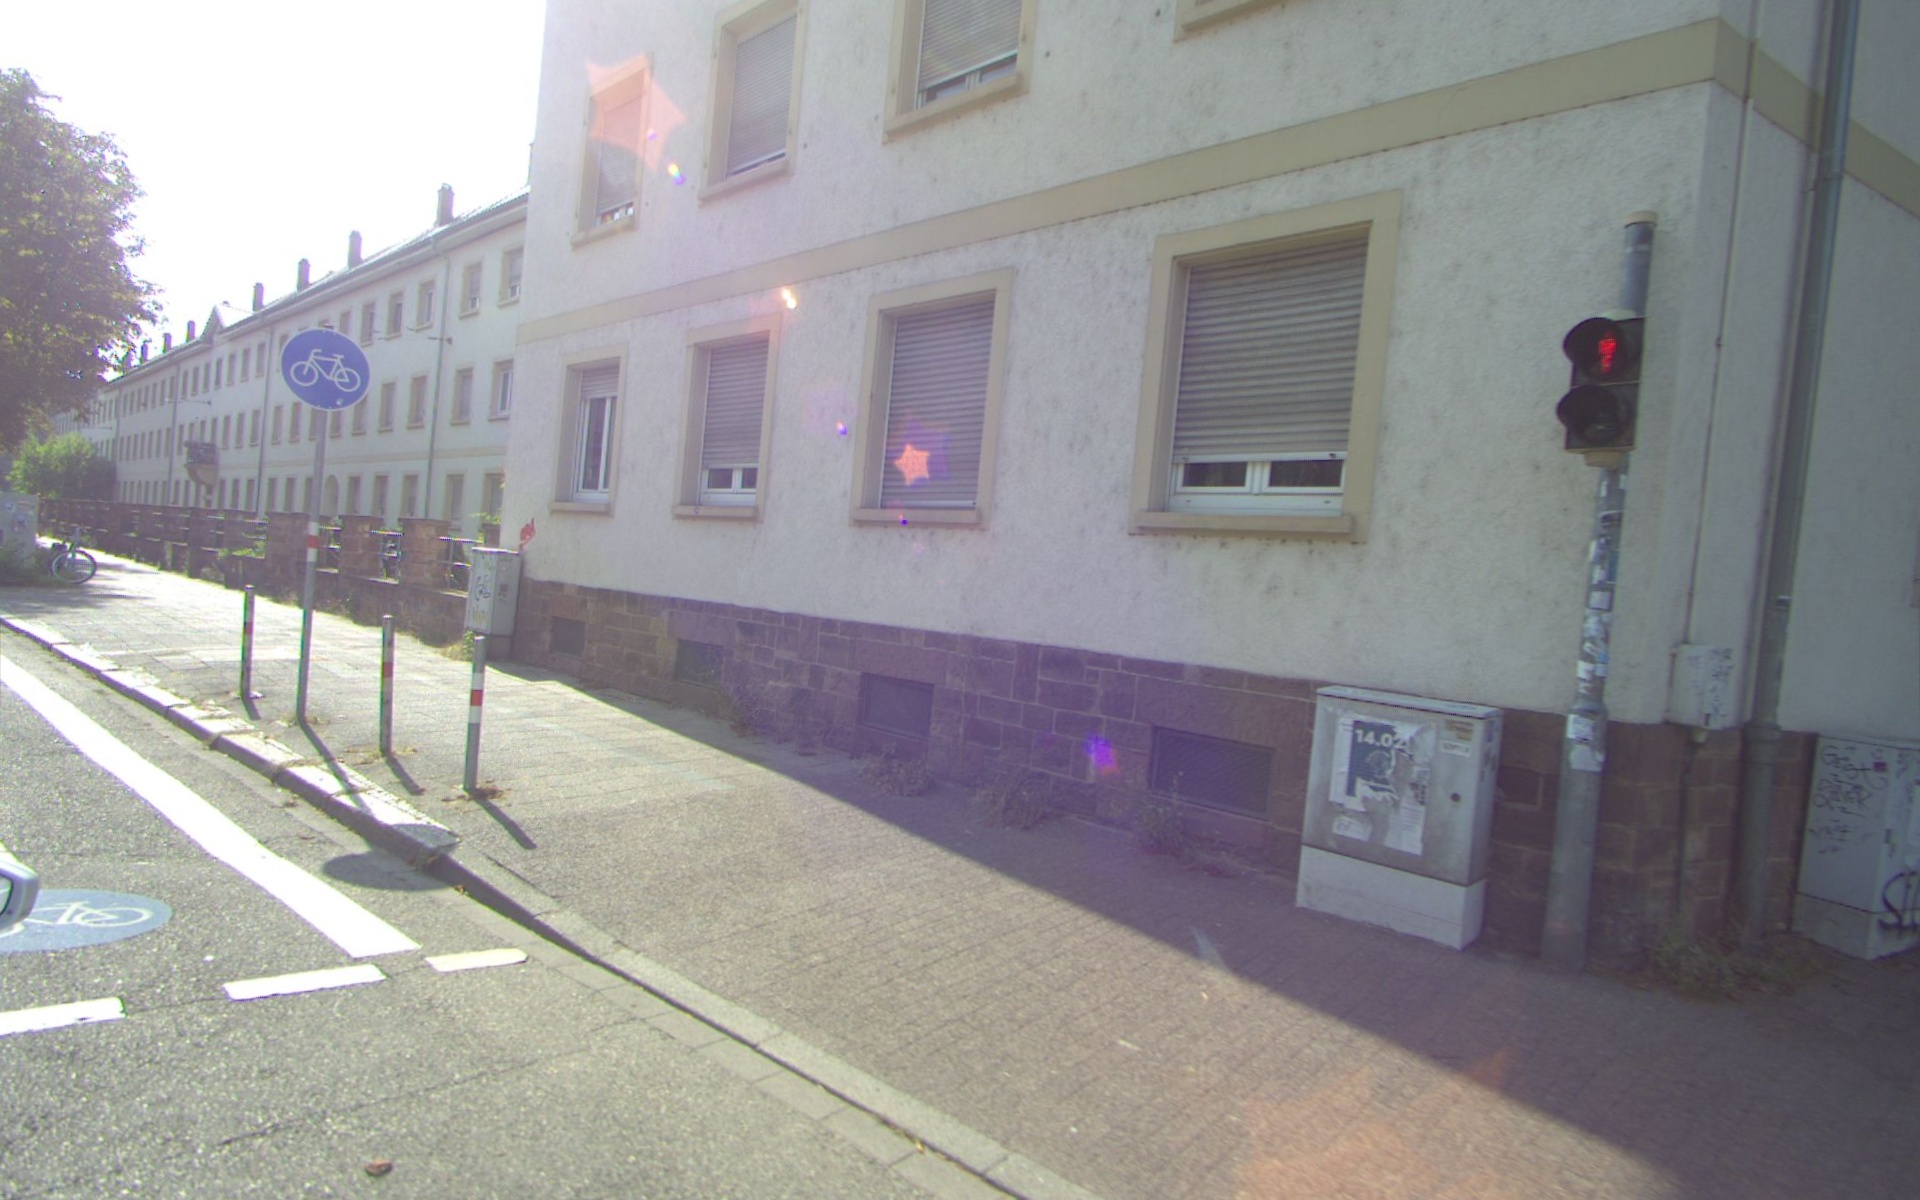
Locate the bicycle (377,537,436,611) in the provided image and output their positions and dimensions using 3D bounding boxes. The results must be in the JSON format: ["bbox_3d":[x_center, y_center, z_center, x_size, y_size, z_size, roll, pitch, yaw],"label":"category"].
[{"bbox_3d":[-10.235,-0.498,18.578,0.452,1.231,1.718,6,0,-43],"label":"bicycle"}]

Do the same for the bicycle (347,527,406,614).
[{"bbox_3d":[-10.773,-0.564,18.552,0.452,1.473,1.718,6,0,-43],"label":"bicycle"}]

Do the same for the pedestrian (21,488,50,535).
[{"bbox_3d":[-37.476,-3.575,40.781,0.749,1.771,0.868,5,1,-41],"label":"pedestrian"}]

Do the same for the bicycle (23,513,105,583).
[{"bbox_3d":[-16.659,-0.982,18.690,2.300,1.118,0.770,6,1,40],"label":"bicycle"}]
